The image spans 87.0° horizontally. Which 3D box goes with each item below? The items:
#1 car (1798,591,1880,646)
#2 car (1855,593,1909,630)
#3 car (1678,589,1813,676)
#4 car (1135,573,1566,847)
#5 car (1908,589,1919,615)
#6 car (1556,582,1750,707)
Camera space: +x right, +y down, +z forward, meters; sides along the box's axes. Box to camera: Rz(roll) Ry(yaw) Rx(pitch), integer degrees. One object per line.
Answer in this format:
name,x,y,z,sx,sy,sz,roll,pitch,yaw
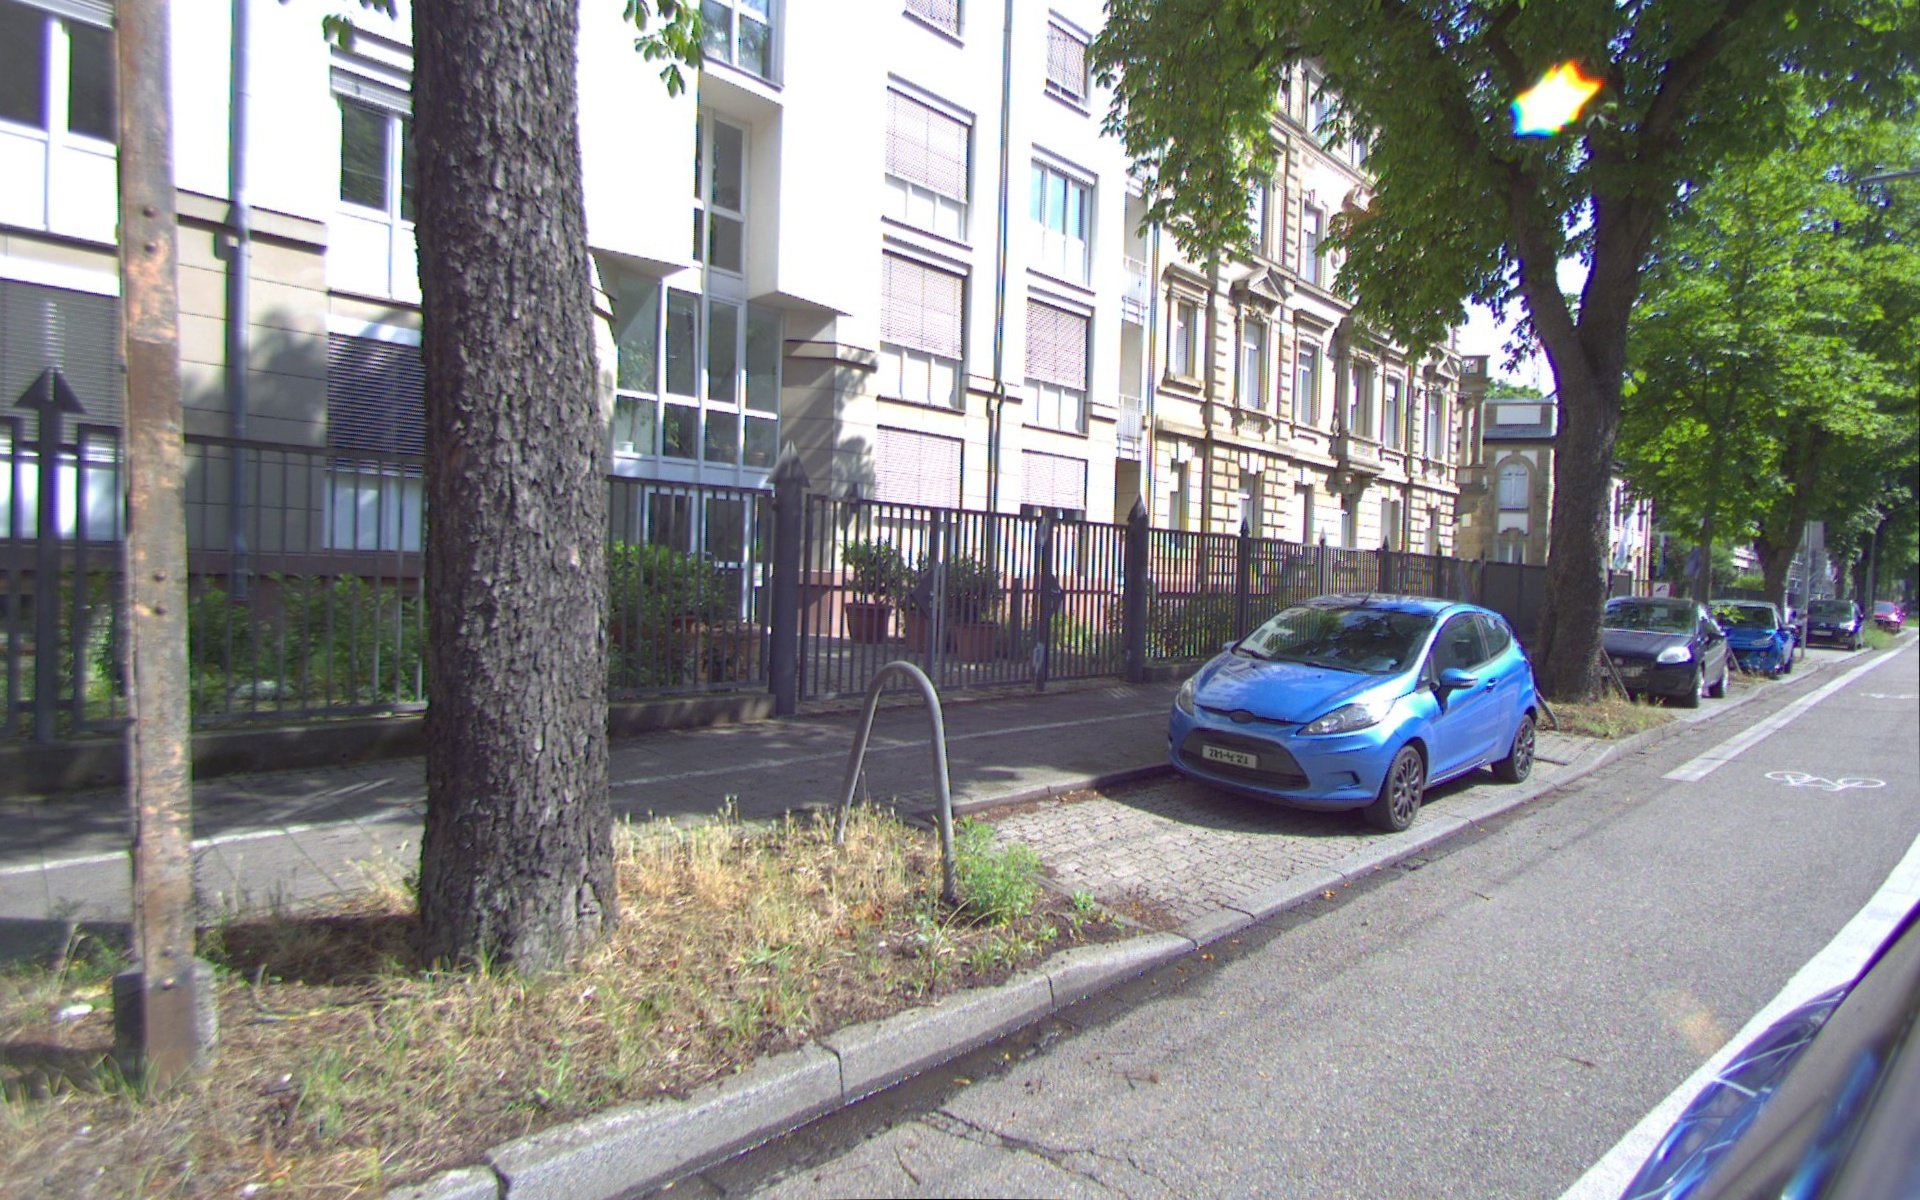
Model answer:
car,29.091,0.568,33.461,1.741,1.592,3.602,7,5,44
car,45.087,0.550,49.463,1.741,1.592,3.867,7,5,44
car,16.051,0.589,20.623,1.676,1.493,3.602,7,5,44
car,3.124,0.631,7.749,3.600,1.493,1.645,0,5,-44
car,62.994,0.192,65.836,1.741,1.592,3.867,7,5,44
car,10.292,0.568,14.938,1.676,1.493,3.602,7,5,44
